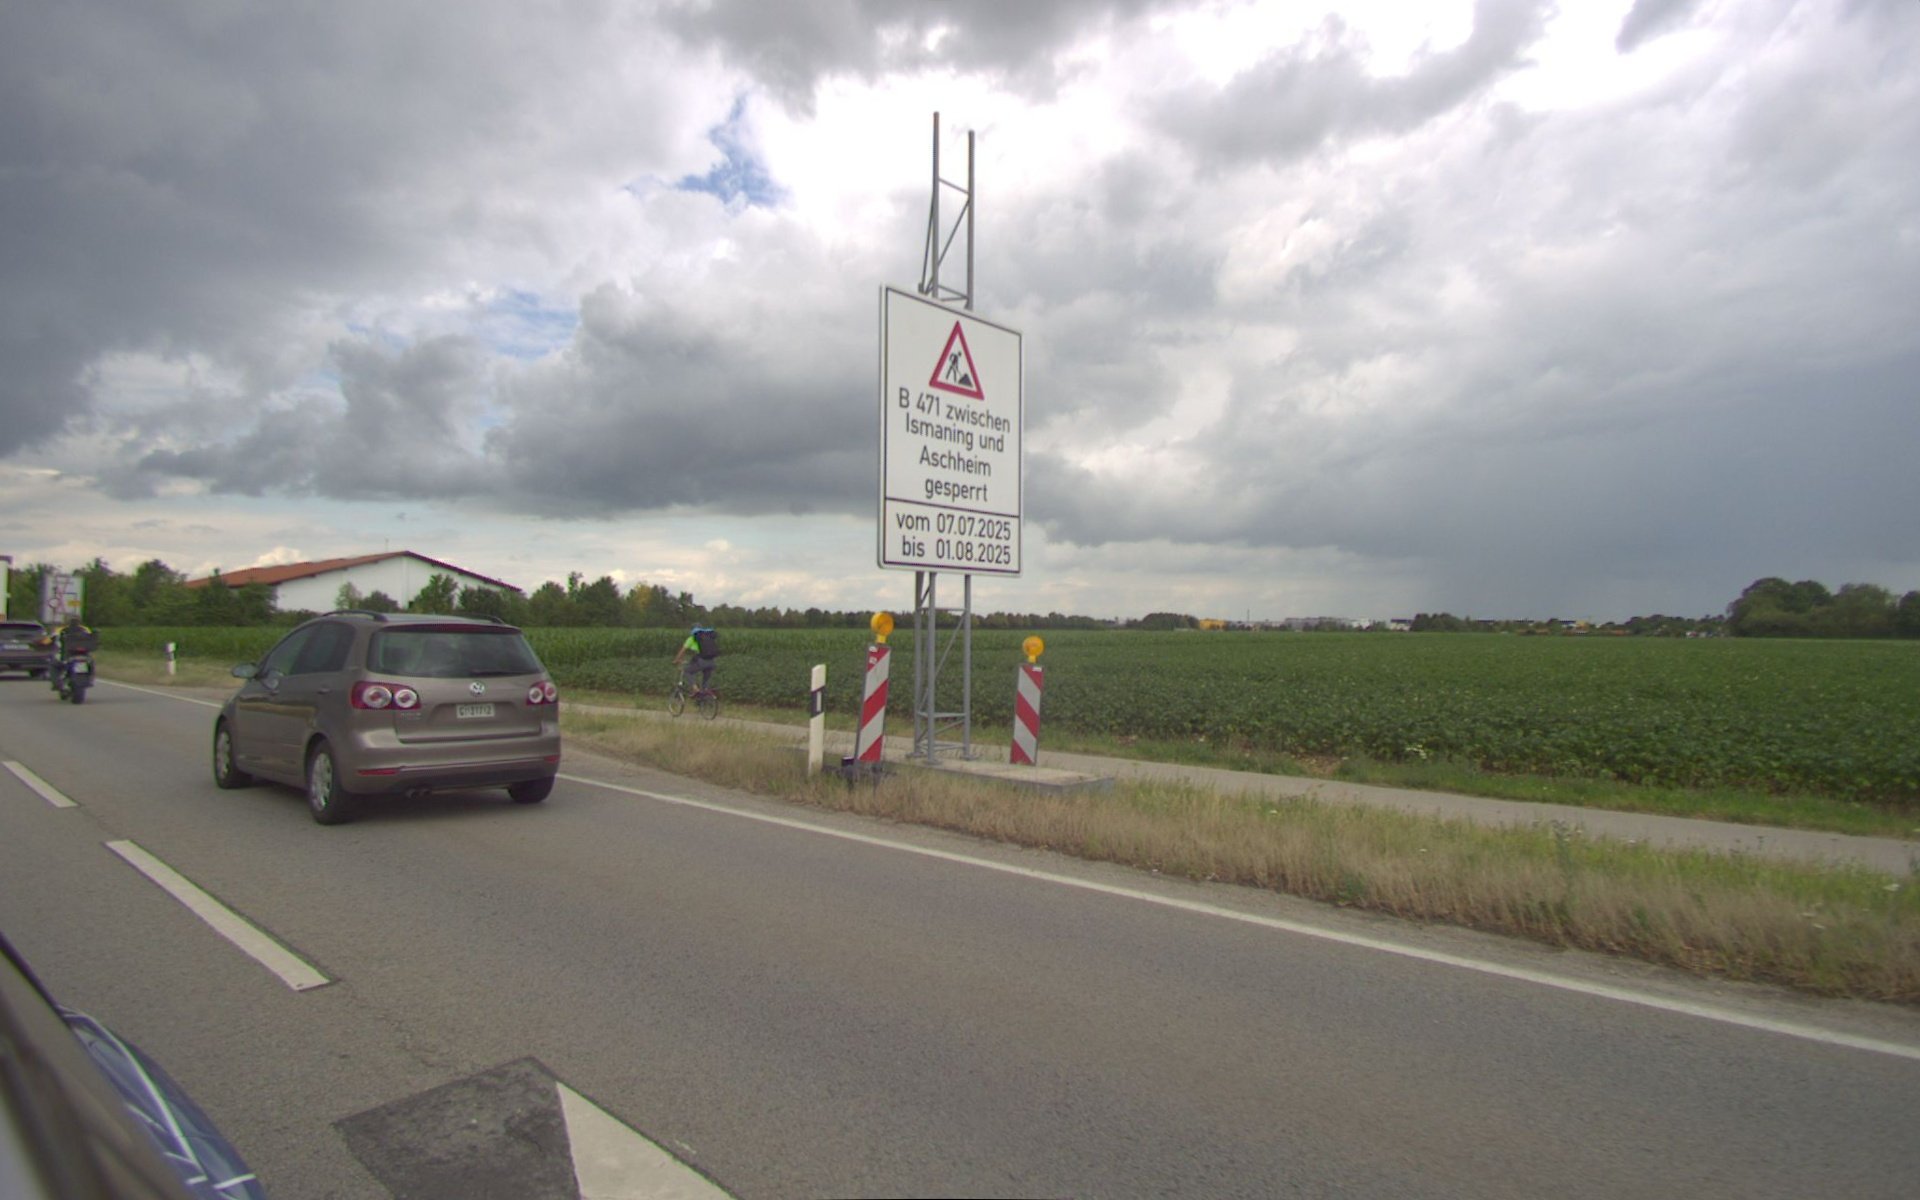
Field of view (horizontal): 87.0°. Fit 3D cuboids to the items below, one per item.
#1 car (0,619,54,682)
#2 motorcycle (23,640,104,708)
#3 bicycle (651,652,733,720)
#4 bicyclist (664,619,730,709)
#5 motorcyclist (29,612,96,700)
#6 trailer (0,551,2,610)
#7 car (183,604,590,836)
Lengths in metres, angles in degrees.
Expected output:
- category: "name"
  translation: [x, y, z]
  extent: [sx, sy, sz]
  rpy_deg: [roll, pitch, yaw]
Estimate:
- category: "car"
  translation: [-26.155, 1.338, 27.505]
  extent: [4.502, 1.598, 1.711]
  rpy_deg: [-1, -3, 41]
- category: "motorcycle"
  translation: [-16.720, 1.342, 18.856]
  extent: [2.619, 1.167, 0.789]
  rpy_deg: [-1, -2, 41]
- category: "bicycle"
  translation: [-4.936, 1.552, 18.591]
  extent: [1.793, 1.164, 0.523]
  rpy_deg: [-1, -4, 41]
- category: "bicyclist"
  translation: [-4.822, 1.155, 18.505]
  extent: [1.222, 1.596, 0.523]
  rpy_deg: [-1, -4, 41]
- category: "motorcyclist"
  translation: [-16.754, 1.024, 18.892]
  extent: [1.077, 1.585, 0.789]
  rpy_deg: [-1, -2, 41]
- category: "trailer"
  translation: [-41.537, 0.341, 41.036]
  extent: [13.761, 4.152, 2.606]
  rpy_deg: [-1, -2, 41]
- category: "car"
  translation: [-5.149, 0.876, 8.831]
  extent: [4.298, 1.551, 1.687]
  rpy_deg: [-1, -4, 41]
